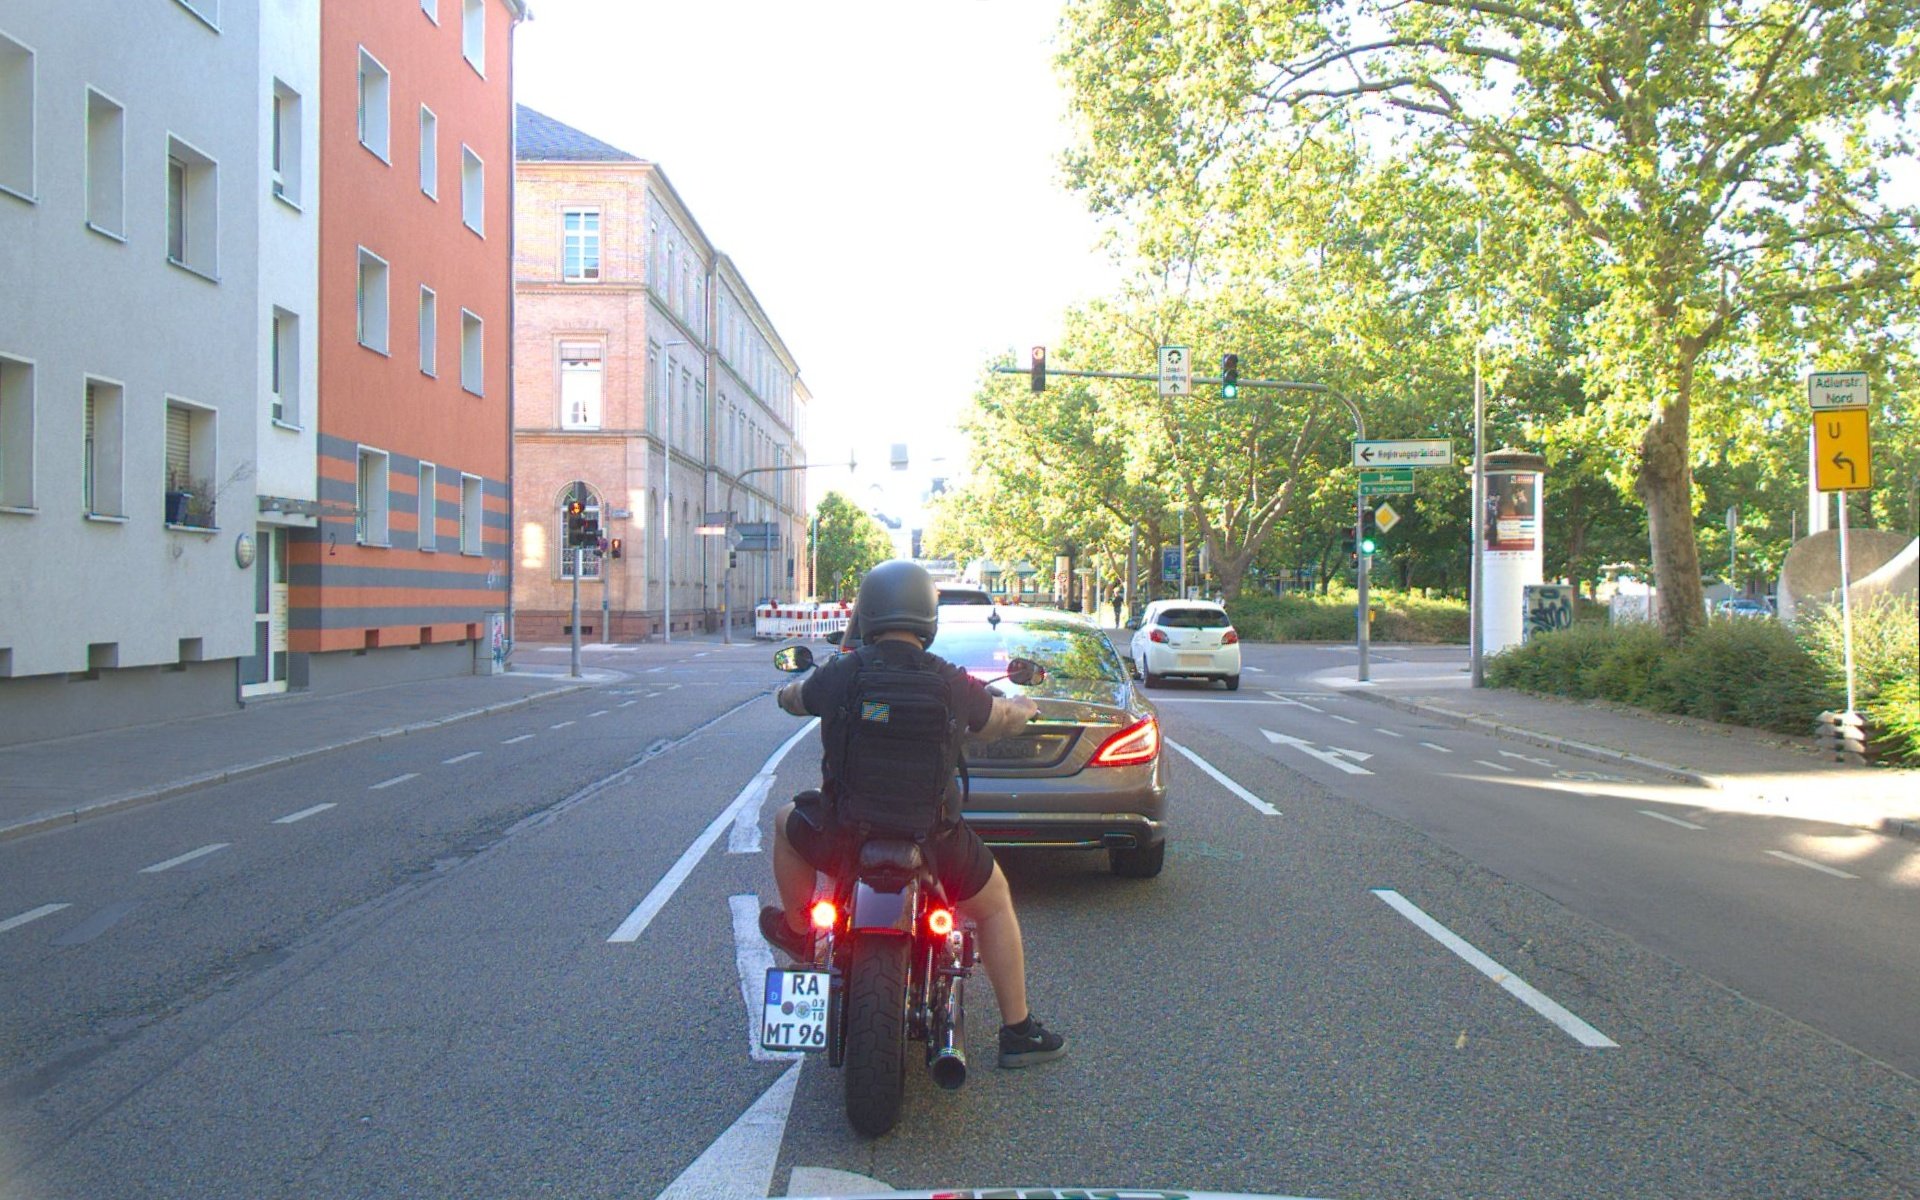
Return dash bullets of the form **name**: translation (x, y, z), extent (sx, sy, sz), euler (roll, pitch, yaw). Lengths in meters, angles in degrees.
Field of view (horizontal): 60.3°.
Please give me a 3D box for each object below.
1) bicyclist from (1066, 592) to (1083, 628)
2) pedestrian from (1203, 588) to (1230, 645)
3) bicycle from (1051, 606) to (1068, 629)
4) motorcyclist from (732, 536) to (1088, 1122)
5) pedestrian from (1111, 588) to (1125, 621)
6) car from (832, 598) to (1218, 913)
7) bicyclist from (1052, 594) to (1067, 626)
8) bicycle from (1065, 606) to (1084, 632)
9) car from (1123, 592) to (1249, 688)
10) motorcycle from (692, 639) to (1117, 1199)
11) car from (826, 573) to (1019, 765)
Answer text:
- **bicyclist**: translation (5.083, 0.426, 73.312), extent (0.643, 1.557, 0.852), euler (2, -1, -1)
- **pedestrian**: translation (8.276, 0.537, 53.313), extent (0.566, 1.805, 0.618), euler (2, -1, -35)
- **bicycle**: translation (5.012, 0.865, 83.351), extent (0.643, 1.131, 2.185), euler (2, 0, -1)
- **motorcyclist**: translation (-0.149, 0.635, 5.317), extent (0.991, 1.630, 1.406), euler (0, 0, -1)
- **pedestrian**: translation (7.801, 0.227, 81.577), extent (0.580, 1.606, 0.527), euler (2, -1, -1)
- **car**: translation (0.274, 0.728, 9.645), extent (1.791, 1.445, 3.814), euler (1, 0, -1)
- **bicyclist**: translation (5.015, 0.505, 83.326), extent (0.643, 1.557, 0.906), euler (2, -1, -1)
- **bicycle**: translation (5.078, 0.827, 73.280), extent (0.643, 1.089, 1.926), euler (2, 0, -1)
- **car**: translation (3.890, 0.660, 28.984), extent (1.645, 1.524, 3.685), euler (2, 0, 0)
- **motorcycle**: translation (-0.151, 0.826, 5.203), extent (0.991, 1.329, 2.672), euler (0, 0, -1)
- **car**: translation (-0.489, 0.623, 16.746), extent (1.599, 1.679, 3.845), euler (2, 0, -6)
